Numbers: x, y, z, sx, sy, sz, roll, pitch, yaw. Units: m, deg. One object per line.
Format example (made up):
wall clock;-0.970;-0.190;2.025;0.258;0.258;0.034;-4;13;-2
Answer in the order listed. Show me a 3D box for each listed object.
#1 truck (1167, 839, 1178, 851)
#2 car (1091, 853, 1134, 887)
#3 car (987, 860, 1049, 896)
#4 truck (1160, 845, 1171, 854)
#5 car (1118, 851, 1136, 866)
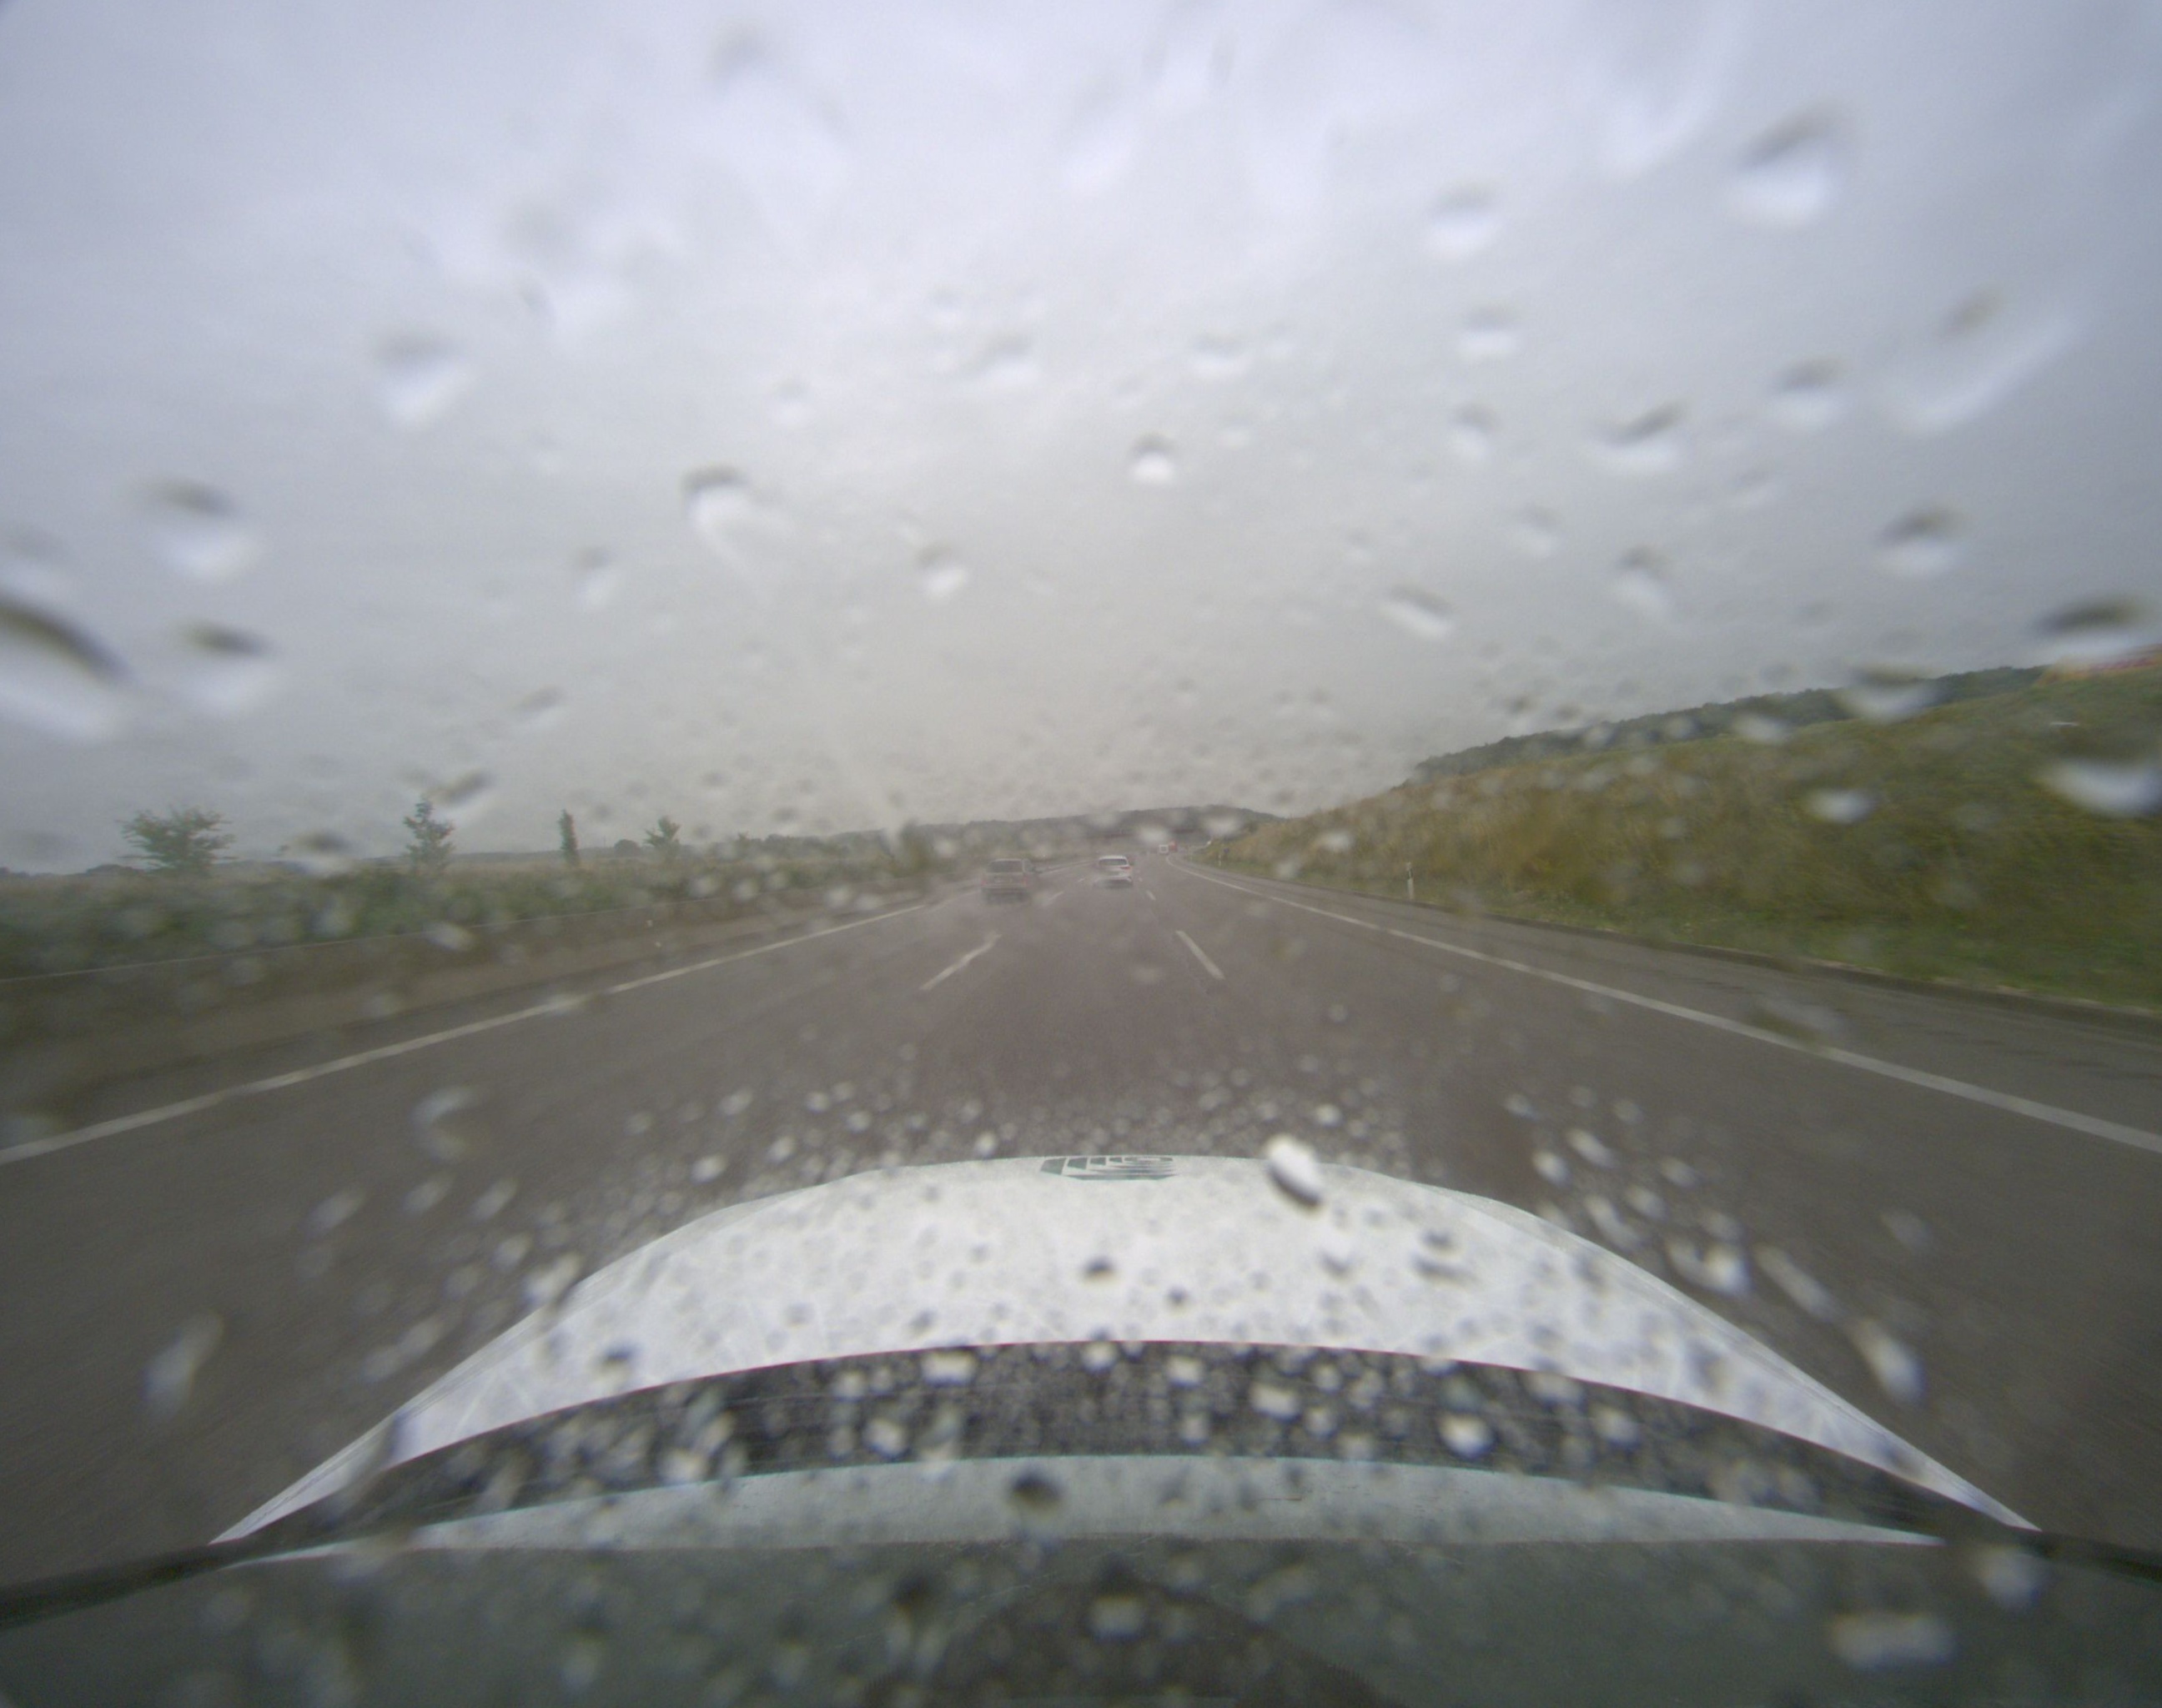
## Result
truck;29.713;-3.032;264.164;3.508;3.742;11.450;-1;1;7
car;1.420;0.715;37.715;1.861;1.463;4.001;-1;0;1
car;-2.131;0.809;28.590;1.817;1.156;4.213;0;0;0
truck;21.779;-1.085;208.756;2.392;2.252;4.707;-1;0;11
car;5.361;0.546;94.383;1.984;1.618;4.006;-1;1;5
